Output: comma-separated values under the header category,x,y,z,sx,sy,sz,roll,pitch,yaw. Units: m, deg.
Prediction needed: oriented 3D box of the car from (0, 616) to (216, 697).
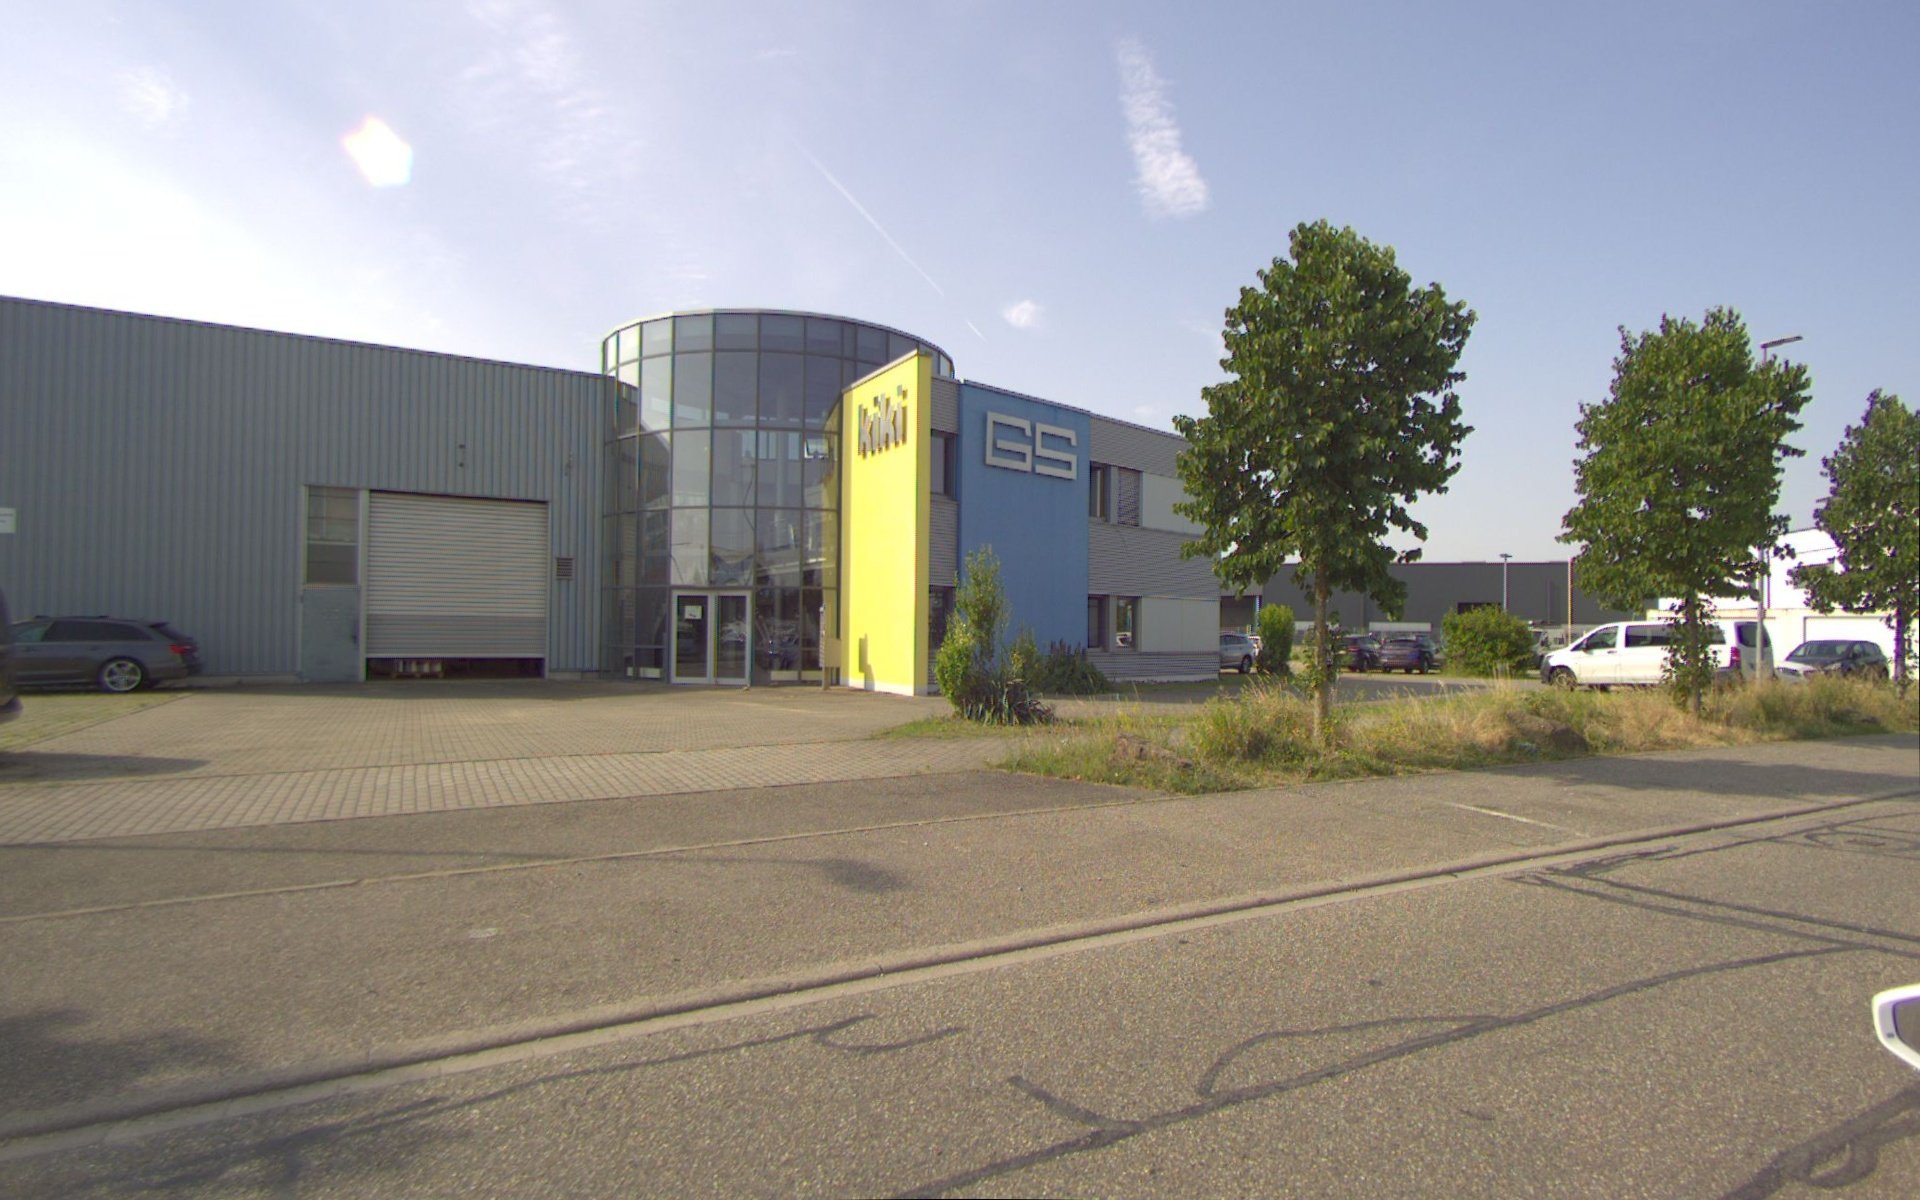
category,x,y,z,sx,sy,sz,roll,pitch,yaw
car,-17.522,1.071,19.500,4.725,1.480,1.707,1,-1,-30

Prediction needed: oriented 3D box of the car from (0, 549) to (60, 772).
category,x,y,z,sx,sy,sz,roll,pitch,yaw
car,-11.300,0.537,8.645,4.931,2.040,1.873,1,-2,-30

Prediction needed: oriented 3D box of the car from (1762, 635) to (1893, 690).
category,x,y,z,sx,sy,sz,roll,pitch,yaw
car,29.100,2.052,33.661,4.645,1.709,1.984,2,-2,-31

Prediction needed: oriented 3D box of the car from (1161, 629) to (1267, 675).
category,x,y,z,sx,sy,sz,roll,pitch,yaw
car,9.022,1.831,35.466,1.558,1.500,4.496,-1,-3,45

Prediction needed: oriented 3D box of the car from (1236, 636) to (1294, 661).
category,x,y,z,sx,sy,sz,roll,pitch,yaw
car,19.515,3.121,64.158,4.119,1.500,1.561,3,-3,-41

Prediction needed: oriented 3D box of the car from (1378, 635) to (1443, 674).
category,x,y,z,sx,sy,sz,roll,pitch,yaw
car,18.866,2.268,41.957,1.819,1.505,3.988,0,-2,34

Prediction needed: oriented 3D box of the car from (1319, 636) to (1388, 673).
category,x,y,z,sx,sy,sz,roll,pitch,yaw
car,17.143,2.353,43.636,1.938,1.505,3.988,0,-2,34

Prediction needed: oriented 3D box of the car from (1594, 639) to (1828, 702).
category,x,y,z,sx,sy,sz,roll,pitch,yaw
car,20.109,1.832,27.156,1.974,1.450,4.711,1,-2,-26

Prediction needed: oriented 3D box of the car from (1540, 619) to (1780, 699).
category,x,y,z,sx,sy,sz,roll,pitch,yaw
car,17.908,1.441,25.970,2.077,1.860,4.686,1,-1,-28

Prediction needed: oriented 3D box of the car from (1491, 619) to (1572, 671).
category,x,y,z,sx,sy,sz,roll,pitch,yaw
car,30.105,2.393,52.857,5.417,2.580,2.033,3,-3,-41
